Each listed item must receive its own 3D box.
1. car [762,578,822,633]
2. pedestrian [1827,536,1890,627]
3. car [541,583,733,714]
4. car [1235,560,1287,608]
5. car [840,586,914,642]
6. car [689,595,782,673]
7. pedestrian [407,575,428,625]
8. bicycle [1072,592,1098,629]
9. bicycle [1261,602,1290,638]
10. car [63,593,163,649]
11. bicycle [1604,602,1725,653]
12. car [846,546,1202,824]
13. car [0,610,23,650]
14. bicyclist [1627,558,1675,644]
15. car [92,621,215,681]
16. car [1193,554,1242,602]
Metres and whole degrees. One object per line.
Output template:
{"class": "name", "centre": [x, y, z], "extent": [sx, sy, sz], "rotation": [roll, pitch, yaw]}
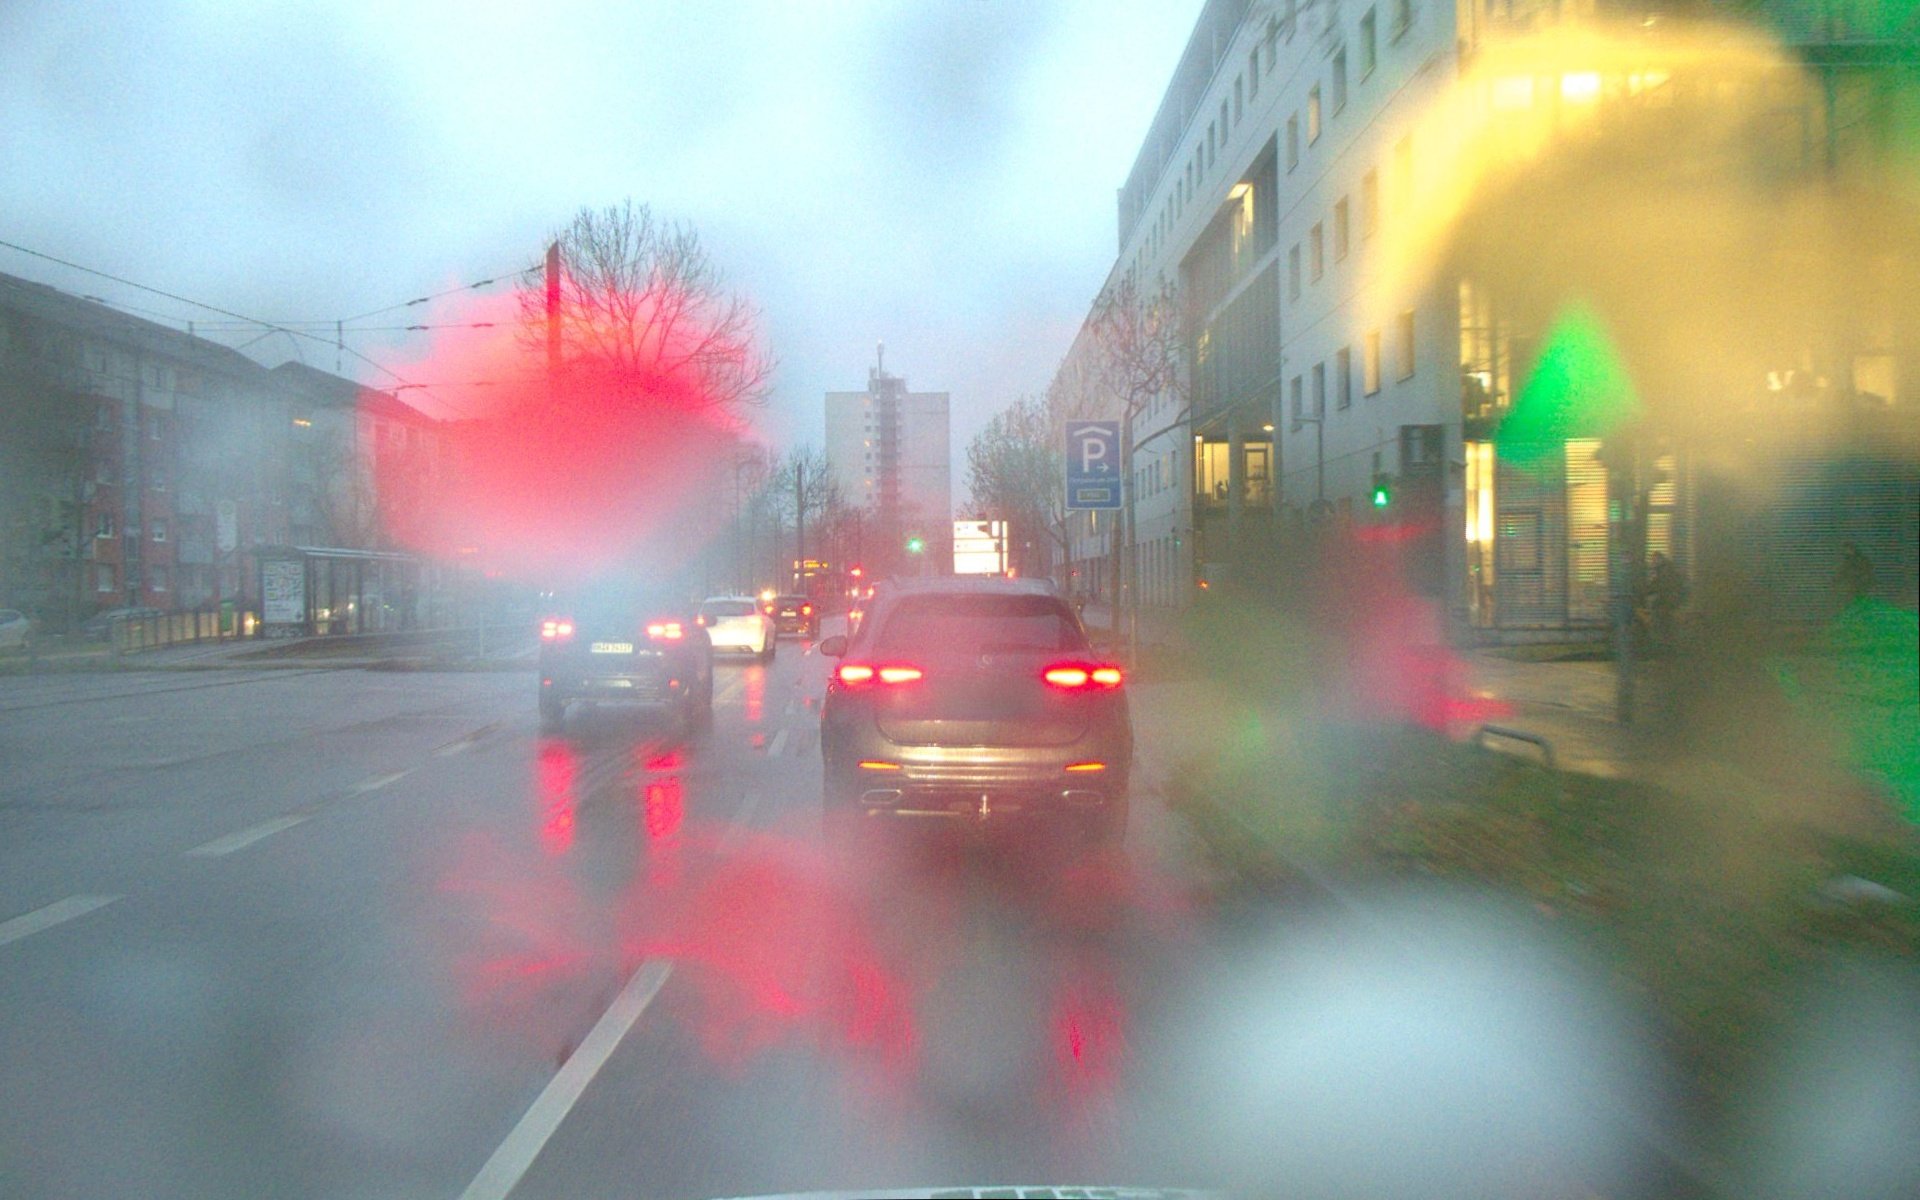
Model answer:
{"class": "car", "centre": [-5.754, 0.194, 57.047], "extent": [1.628, 1.790, 3.568], "rotation": [1, 0, 1]}
{"class": "pedestrian", "centre": [17.015, -0.345, 31.335], "extent": [0.791, 1.683, 0.726], "rotation": [1, 0, 1]}
{"class": "car", "centre": [-3.986, 0.550, 20.996], "extent": [1.781, 1.476, 3.998], "rotation": [1, 0, -2]}
{"class": "car", "centre": [11.736, -0.607, 64.597], "extent": [1.593, 1.790, 3.423], "rotation": [1, 0, 4]}
{"class": "car", "centre": [-2.411, 0.388, 48.958], "extent": [1.828, 1.570, 3.611], "rotation": [1, 0, 2]}
{"class": "car", "centre": [-5.104, 0.735, 37.939], "extent": [1.655, 1.664, 3.473], "rotation": [1, 0, -1]}
{"class": "pedestrian", "centre": [-18.215, 0.000, 55.556], "extent": [0.483, 1.685, 0.463], "rotation": [1, 0, 15]}
{"class": "bicycle", "centre": [3.428, 0.291, 45.365], "extent": [0.534, 0.982, 1.345], "rotation": [1, 0, -3]}
{"class": "bicycle", "centre": [8.903, 0.563, 46.737], "extent": [0.367, 0.946, 1.076], "rotation": [1, 2, -15]}
{"class": "car", "centre": [-32.514, 0.789, 63.600], "extent": [1.954, 2.049, 3.997], "rotation": [1, 0, -4]}
{"class": "bicycle", "centre": [11.266, 0.425, 26.462], "extent": [1.698, 0.758, 0.650], "rotation": [1, 0, 33]}
{"class": "car", "centre": [0.336, 0.473, 11.036], "extent": [1.953, 1.509, 3.699], "rotation": [1, 0, -1]}
{"class": "car", "centre": [-32.464, 1.002, 54.409], "extent": [1.415, 1.309, 3.385], "rotation": [1, 0, -1]}
{"class": "bicyclist", "centre": [11.119, 0.014, 26.615], "extent": [0.610, 1.353, 0.564], "rotation": [1, 0, 32]}
{"class": "car", "centre": [-20.464, 1.257, 42.117], "extent": [1.415, 1.365, 3.636], "rotation": [1, 0, -1]}
{"class": "car", "centre": [10.021, -0.859, 64.641], "extent": [1.593, 1.790, 3.423], "rotation": [1, 0, 4]}
